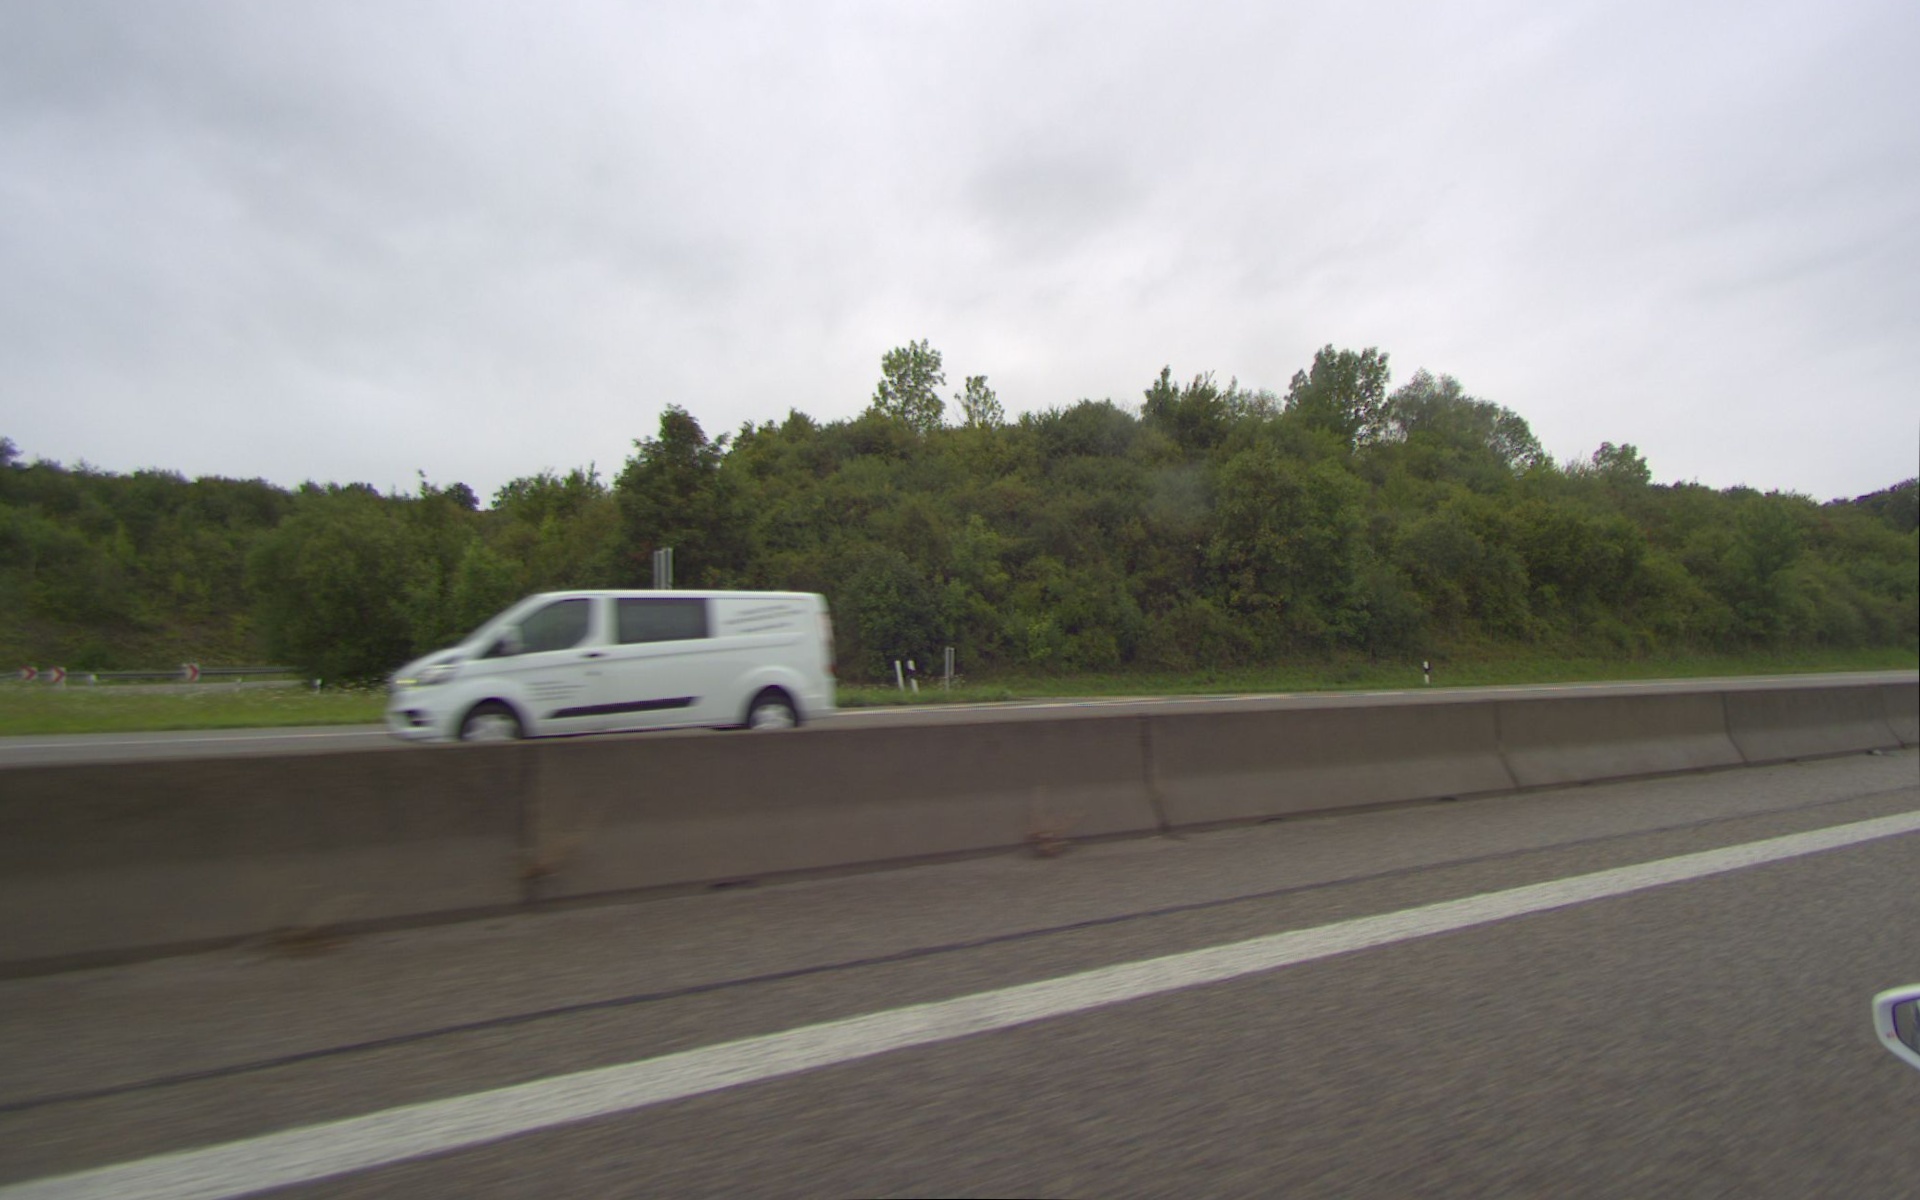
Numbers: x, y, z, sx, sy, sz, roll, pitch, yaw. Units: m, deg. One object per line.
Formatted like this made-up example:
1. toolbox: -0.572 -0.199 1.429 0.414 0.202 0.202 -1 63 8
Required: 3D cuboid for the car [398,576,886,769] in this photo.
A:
1. car: -3.946 0.861 12.945 5.695 2.040 1.984 2 -2 -31
